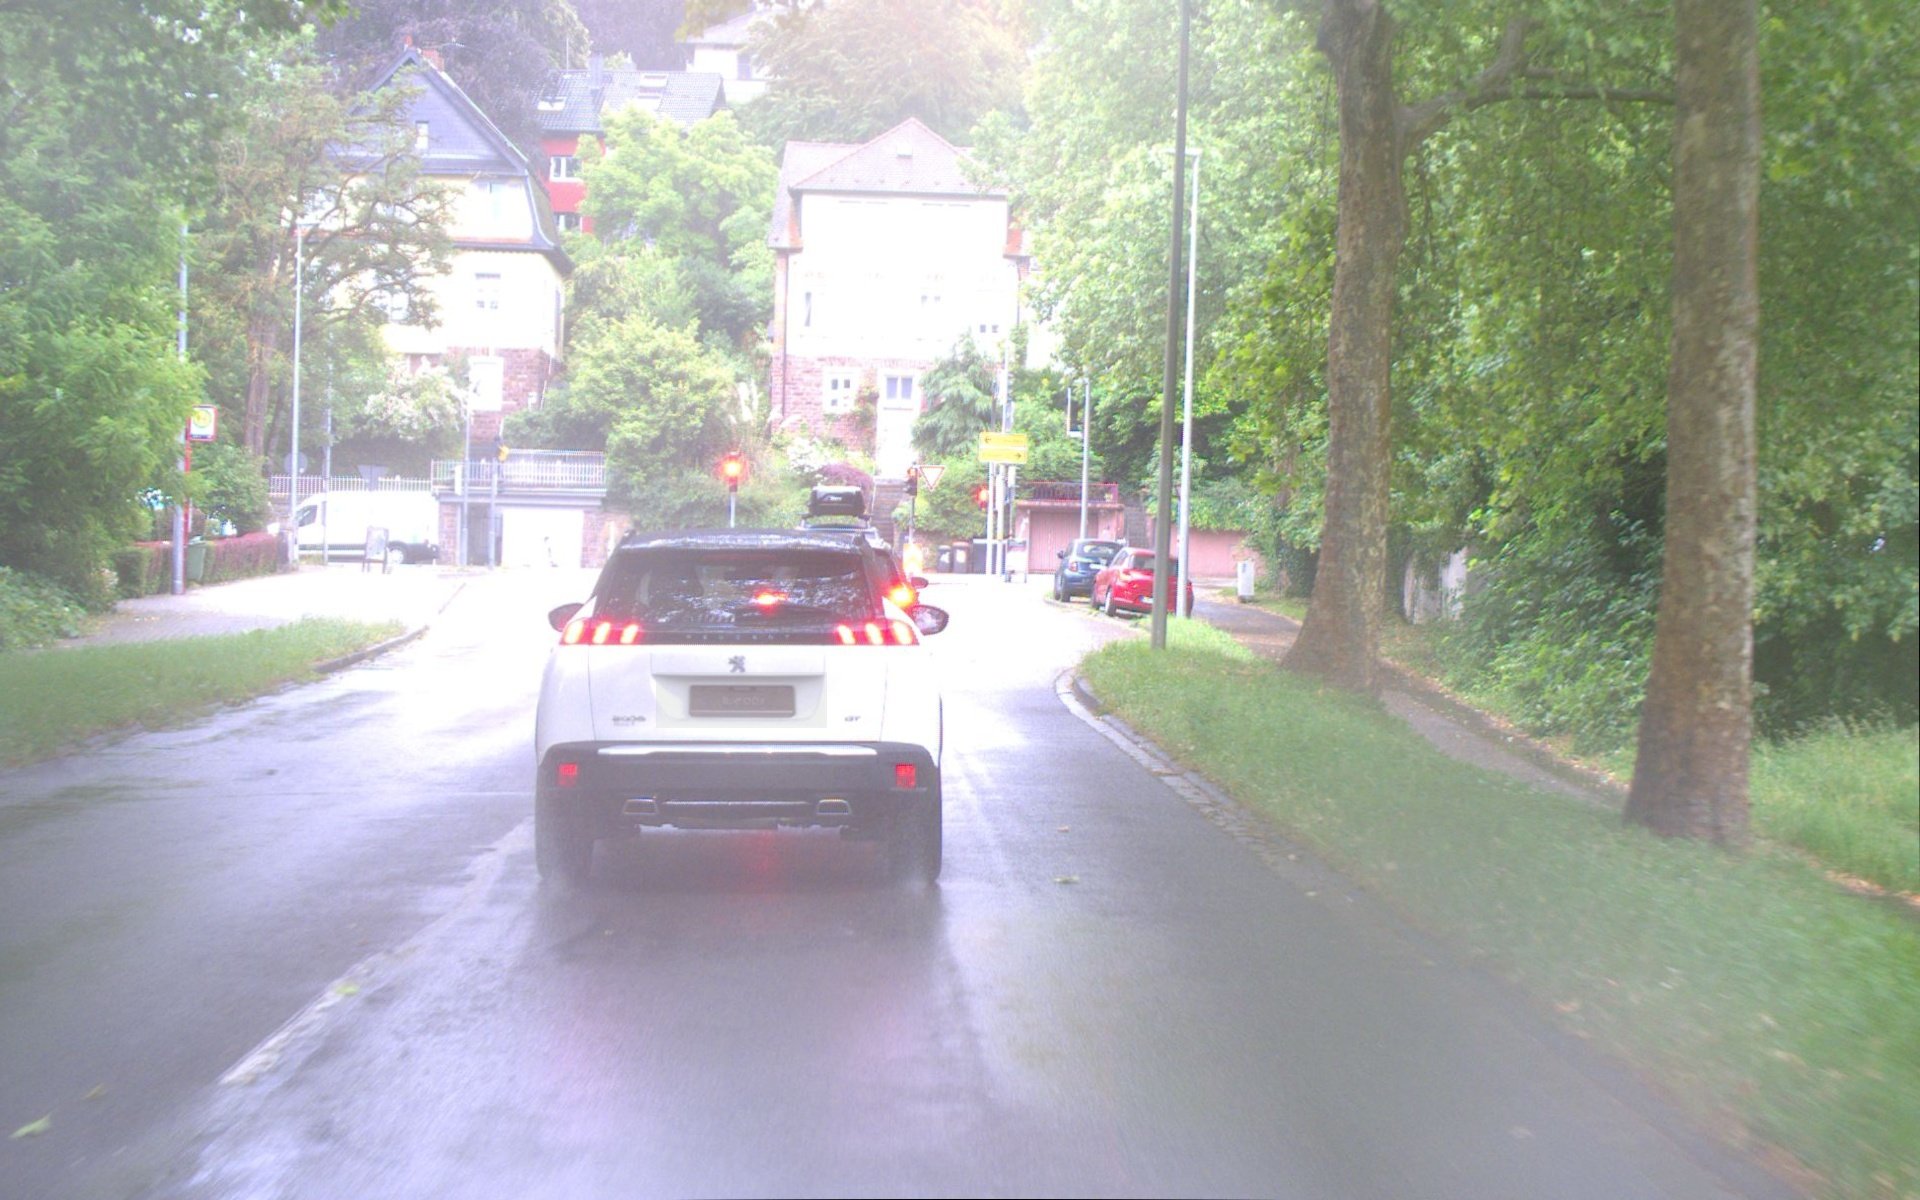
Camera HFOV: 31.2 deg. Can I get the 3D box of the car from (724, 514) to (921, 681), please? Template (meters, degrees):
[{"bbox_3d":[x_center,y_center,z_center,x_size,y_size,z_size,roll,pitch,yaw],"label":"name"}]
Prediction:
[{"bbox_3d":[-1.412,-0.080,36.086,1.831,1.451,4.659,4,2,-2],"label":"car"}]

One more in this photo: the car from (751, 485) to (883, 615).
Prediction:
[{"bbox_3d":[-2.136,-0.774,50.308,1.760,1.705,4.602,3,2,-4],"label":"car"}]

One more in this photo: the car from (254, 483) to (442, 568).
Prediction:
[{"bbox_3d":[-20.091,-2.438,113.021,5.660,2.485,2.316,2,0,0],"label":"car"}]

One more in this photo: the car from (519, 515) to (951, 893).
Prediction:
[{"bbox_3d":[-1.005,0.385,16.306,1.752,1.530,4.368,1,1,-2],"label":"car"}]

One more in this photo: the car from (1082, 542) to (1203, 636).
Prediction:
[{"bbox_3d":[3.755,-0.260,71.326,1.819,1.512,3.744,9,2,-5],"label":"car"}]

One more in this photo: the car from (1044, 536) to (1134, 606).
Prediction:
[{"bbox_3d":[3.010,-0.705,80.996,1.749,1.486,3.600,4,1,-2],"label":"car"}]
